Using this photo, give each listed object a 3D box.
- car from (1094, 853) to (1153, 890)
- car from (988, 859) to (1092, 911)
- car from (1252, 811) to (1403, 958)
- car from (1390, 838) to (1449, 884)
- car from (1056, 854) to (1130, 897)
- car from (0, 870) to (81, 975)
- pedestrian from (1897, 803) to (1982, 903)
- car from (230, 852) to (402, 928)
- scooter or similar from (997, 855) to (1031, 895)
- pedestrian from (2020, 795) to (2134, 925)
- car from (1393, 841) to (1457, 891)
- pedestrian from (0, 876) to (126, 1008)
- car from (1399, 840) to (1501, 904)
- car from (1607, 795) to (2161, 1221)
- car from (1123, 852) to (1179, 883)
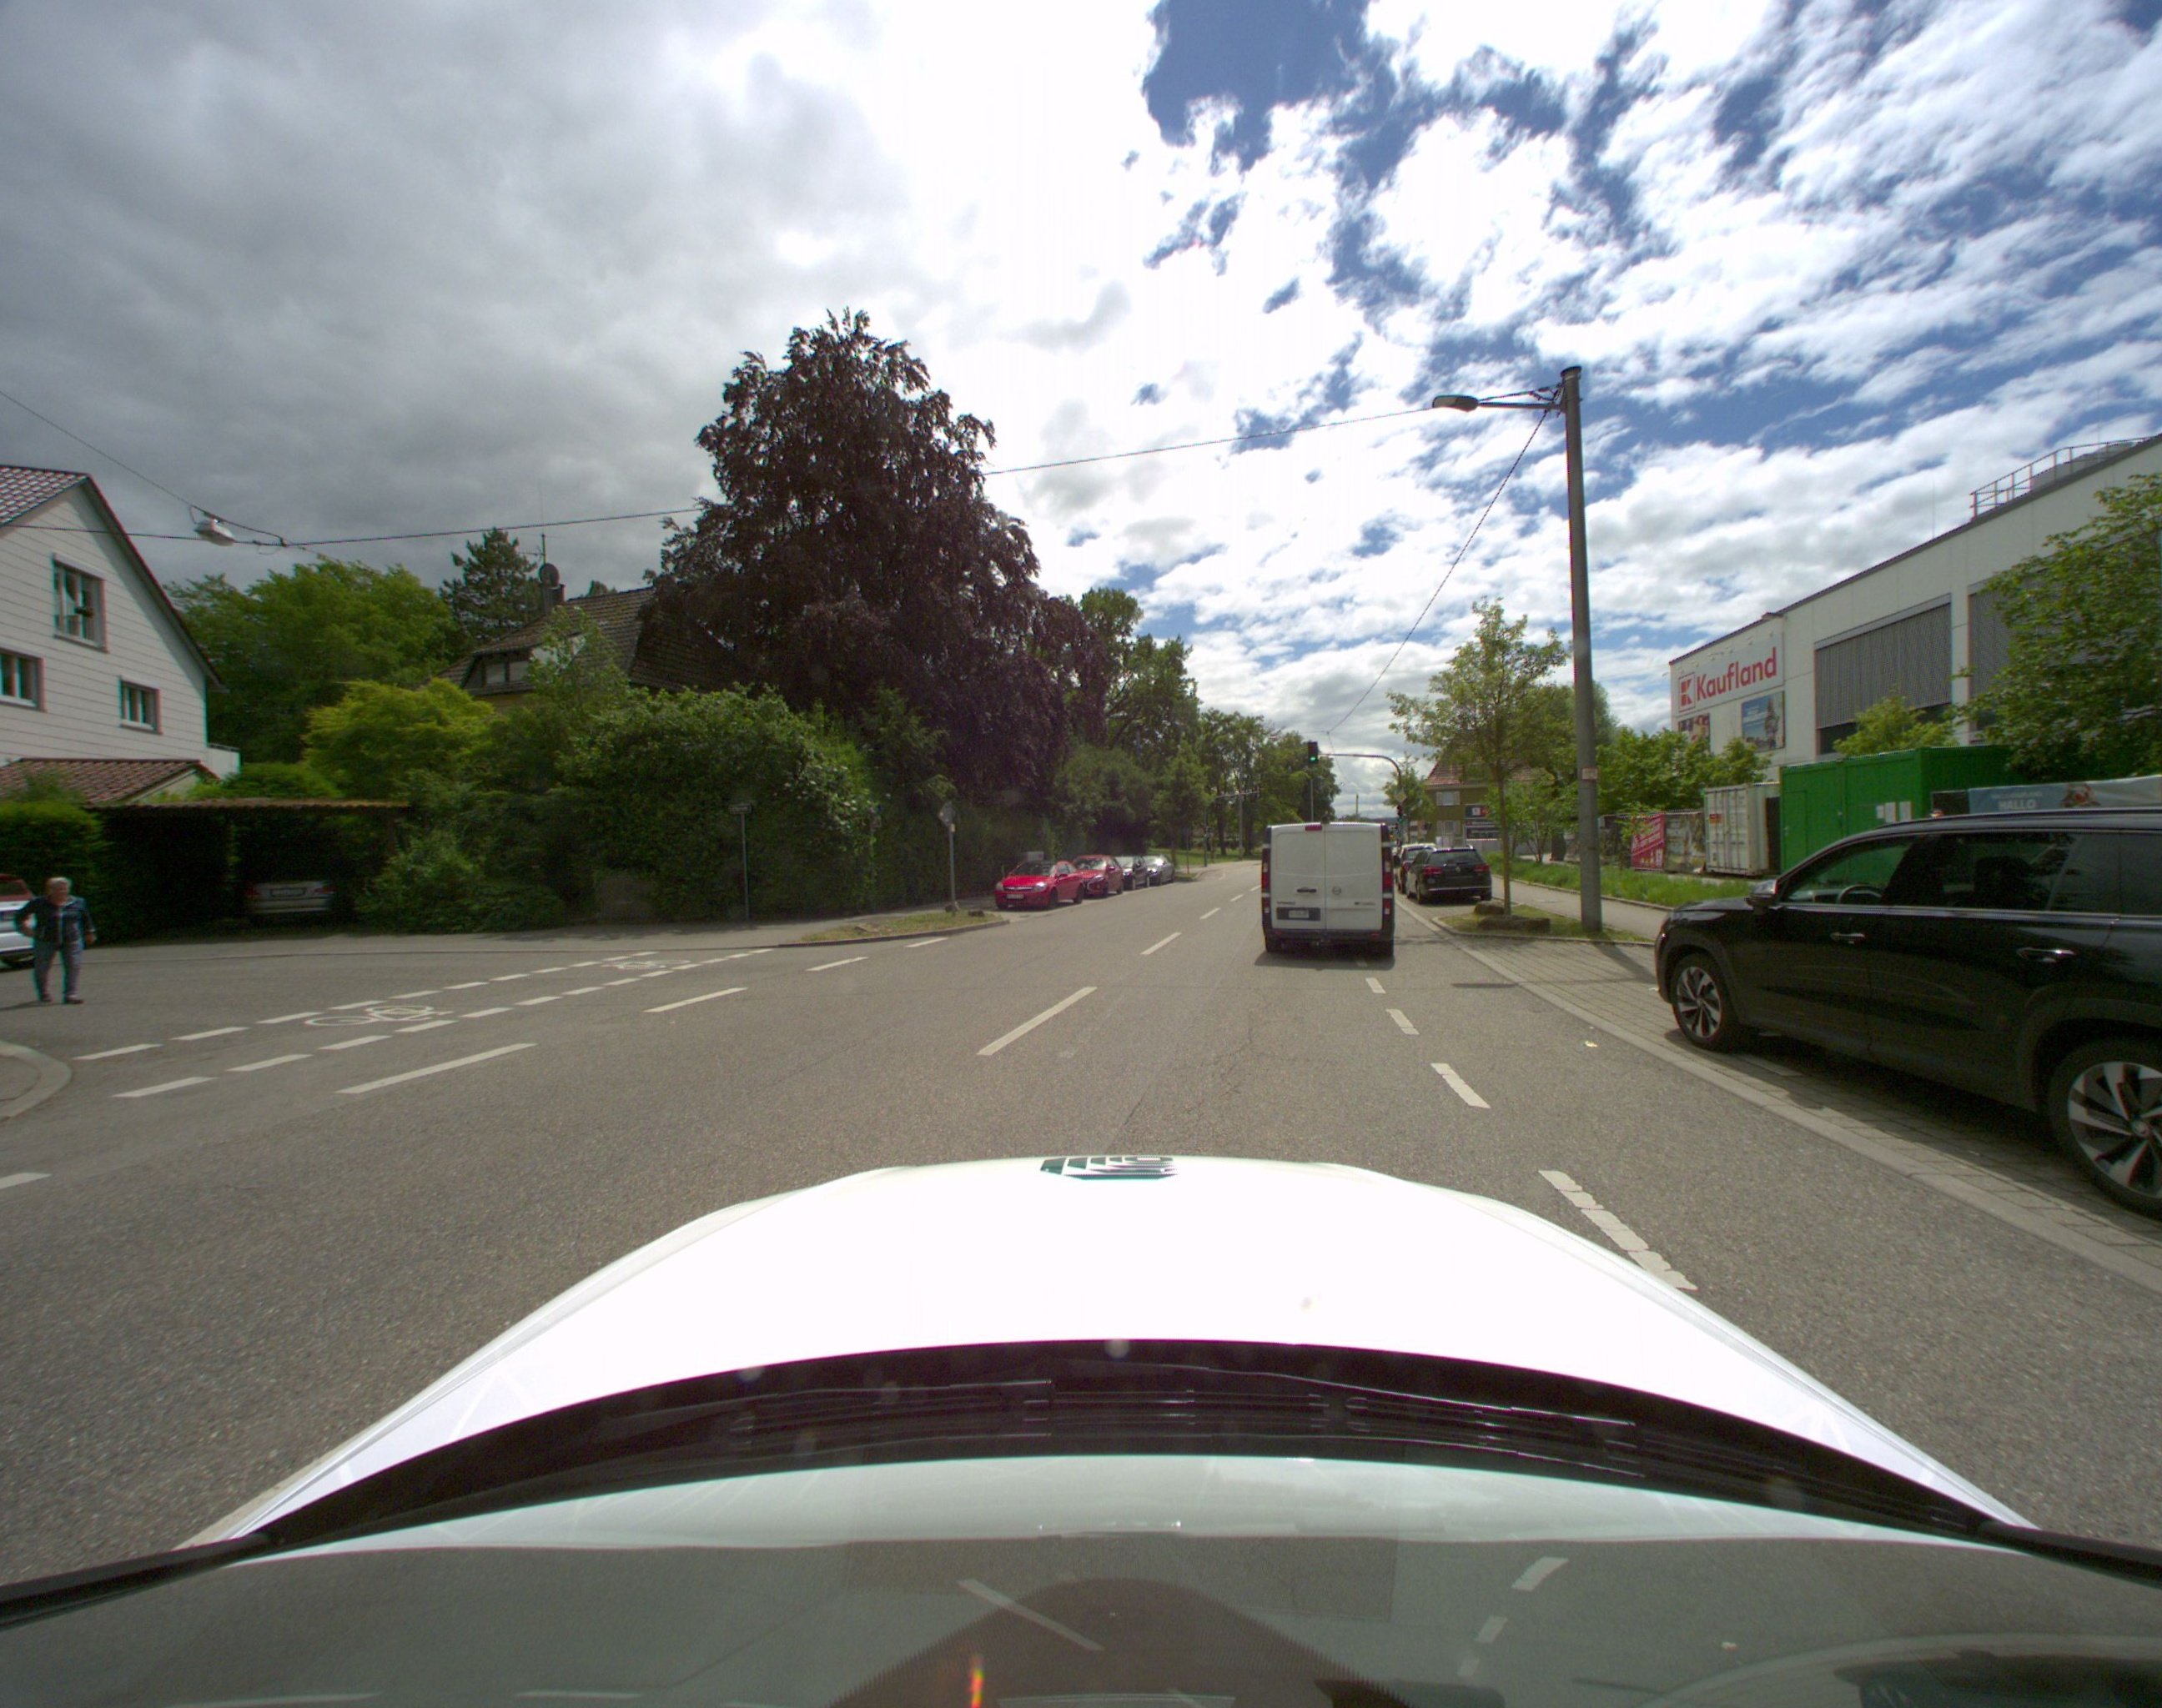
[{"bbox_3d":[1.866,0.710,34.678,1.582,1.450,3.613,0,0,19],"label":"car"},{"bbox_3d":[-1.131,0.882,24.904,1.647,1.378,4.587,0,0,18],"label":"car"},{"bbox_3d":[4.172,0.420,13.496,1.922,1.960,4.857,-2,0,19],"label":"car"},{"bbox_3d":[13.444,0.240,32.582,1.723,1.616,4.407,-4,-1,18],"label":"car"},{"bbox_3d":[0.513,0.738,29.975,1.636,1.450,4.123,0,0,17],"label":"car"},{"bbox_3d":[-17.623,1.043,12.269,2.779,1.555,1.579,0,0,-21],"label":"car"},{"bbox_3d":[15.026,-0.019,14.282,0.647,1.697,0.848,-1,0,15],"label":"pedestrian"},{"bbox_3d":[-17.458,0.729,18.828,1.731,1.510,3.967,-1,1,-25],"label":"car"},{"bbox_3d":[-2.498,0.770,30.517,0.665,1.412,1.657,-1,0,19],"label":"scooter or similar"},{"bbox_3d":[13.468,0.082,11.040,0.646,1.696,0.728,-1,0,15],"label":"pedestrian"},{"bbox_3d":[11.440,0.369,27.290,1.555,1.493,4.019,-3,0,18],"label":"car"},{"bbox_3d":[-12.365,1.033,9.911,0.731,1.508,0.623,-1,0,-21],"label":"pedestrian"},{"bbox_3d":[10.004,0.436,22.448,1.751,1.477,4.956,-5,-1,16],"label":"car"},{"bbox_3d":[5.215,0.536,4.560,1.868,1.621,4.857,-3,0,8],"label":"car"},{"bbox_3d":[3.380,0.590,38.737,1.681,1.365,4.707,0,0,17],"label":"car"}]
